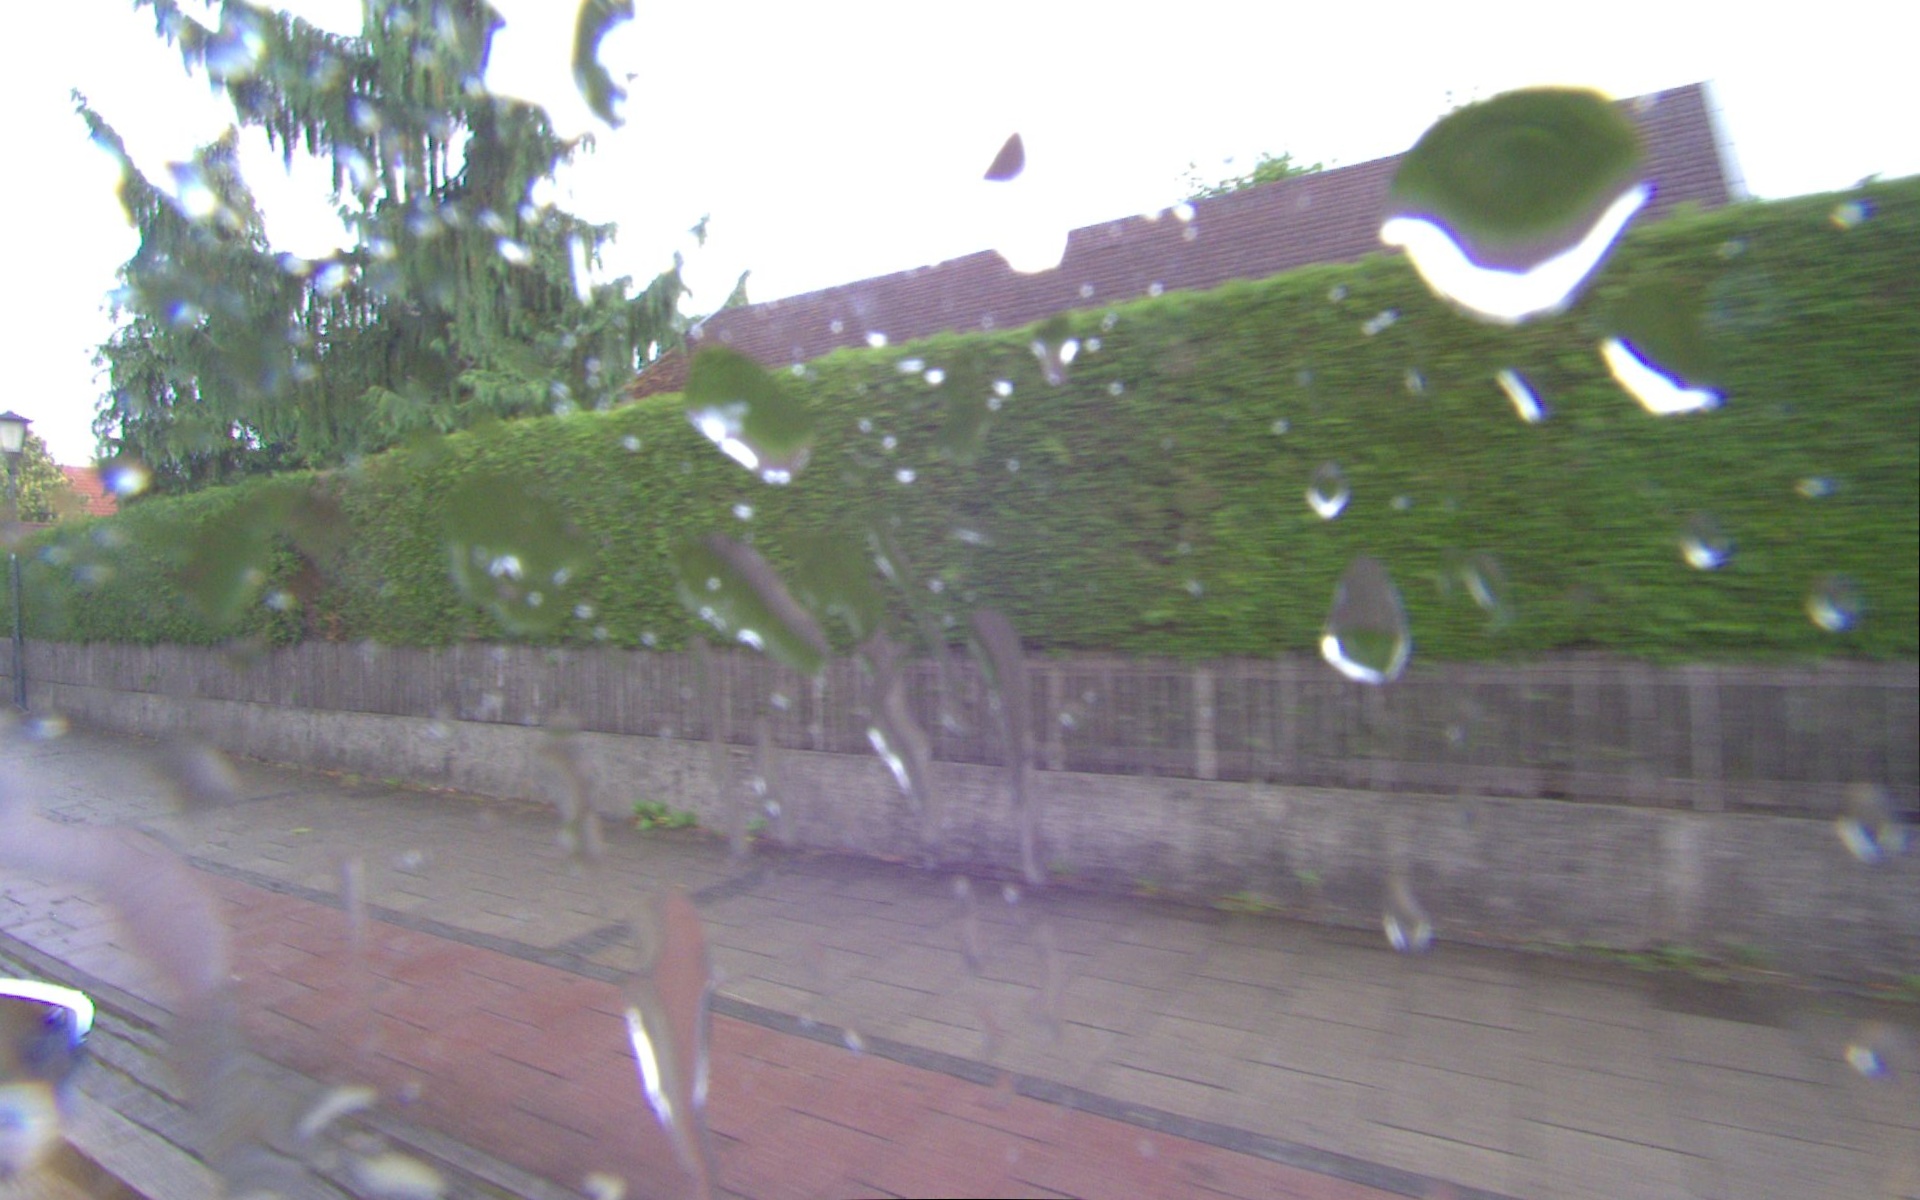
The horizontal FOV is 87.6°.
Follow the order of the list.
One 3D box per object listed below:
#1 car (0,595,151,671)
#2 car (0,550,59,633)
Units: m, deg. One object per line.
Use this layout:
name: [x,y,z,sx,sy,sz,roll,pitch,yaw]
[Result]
car: [-23.316,0.804,25.346,1.670,1.776,4.083,2,2,33]
car: [-27.713,-0.173,27.928,4.870,2.201,1.995,-1,-2,23]
